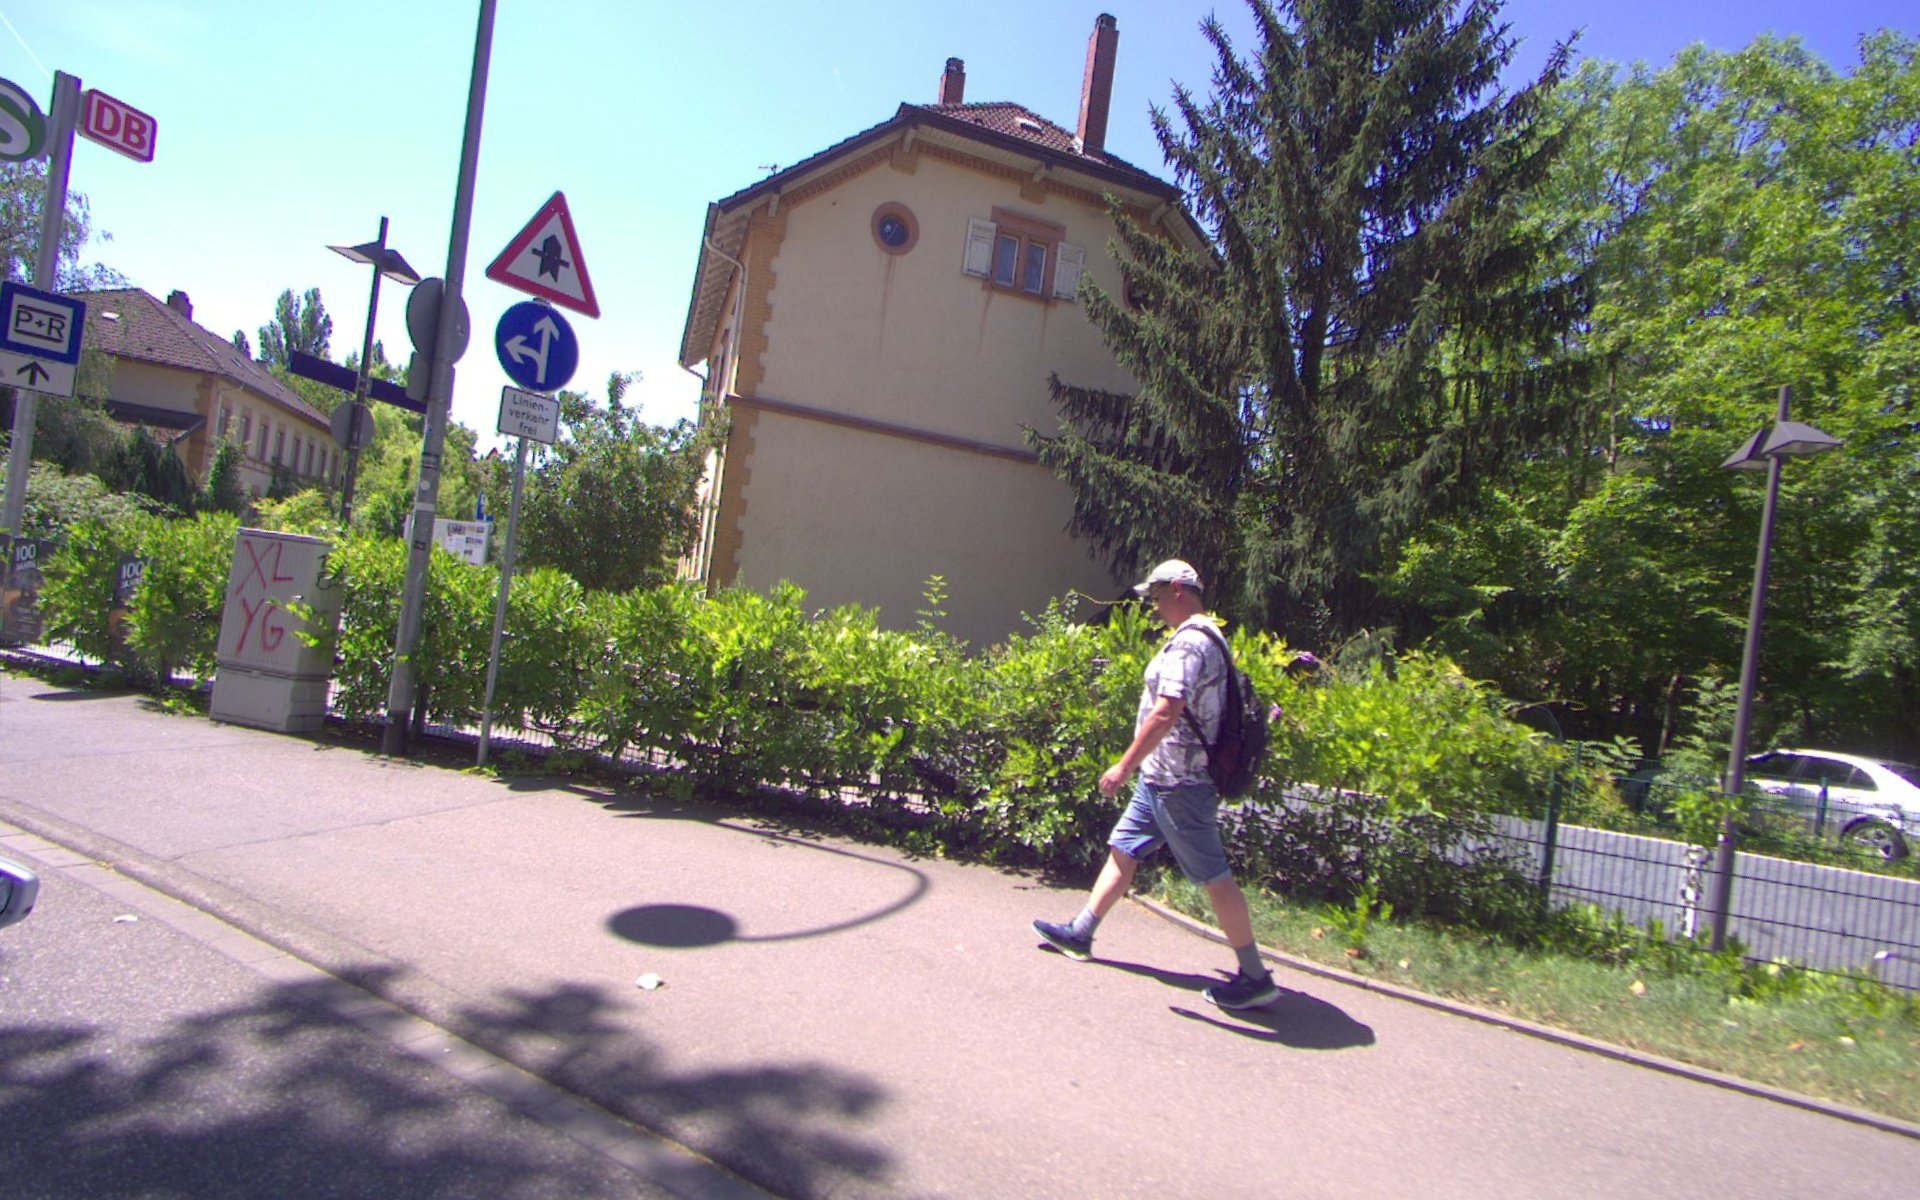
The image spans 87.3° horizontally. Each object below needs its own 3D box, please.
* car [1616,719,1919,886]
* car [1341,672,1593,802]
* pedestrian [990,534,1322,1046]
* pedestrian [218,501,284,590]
[{"bbox_3d":[11.956,2.792,14.060,1.744,1.517,4.484,8,-1,-17],"label":"car"},{"bbox_3d":[8.627,2.278,17.551,1.629,1.554,3.960,8,-1,-13],"label":"car"},{"bbox_3d":[0.848,0.705,4.235,0.900,1.793,0.913,7,0,32],"label":"pedestrian"},{"bbox_3d":[-14.345,-1.097,20.363,0.687,1.647,0.617,9,0,15],"label":"pedestrian"}]
